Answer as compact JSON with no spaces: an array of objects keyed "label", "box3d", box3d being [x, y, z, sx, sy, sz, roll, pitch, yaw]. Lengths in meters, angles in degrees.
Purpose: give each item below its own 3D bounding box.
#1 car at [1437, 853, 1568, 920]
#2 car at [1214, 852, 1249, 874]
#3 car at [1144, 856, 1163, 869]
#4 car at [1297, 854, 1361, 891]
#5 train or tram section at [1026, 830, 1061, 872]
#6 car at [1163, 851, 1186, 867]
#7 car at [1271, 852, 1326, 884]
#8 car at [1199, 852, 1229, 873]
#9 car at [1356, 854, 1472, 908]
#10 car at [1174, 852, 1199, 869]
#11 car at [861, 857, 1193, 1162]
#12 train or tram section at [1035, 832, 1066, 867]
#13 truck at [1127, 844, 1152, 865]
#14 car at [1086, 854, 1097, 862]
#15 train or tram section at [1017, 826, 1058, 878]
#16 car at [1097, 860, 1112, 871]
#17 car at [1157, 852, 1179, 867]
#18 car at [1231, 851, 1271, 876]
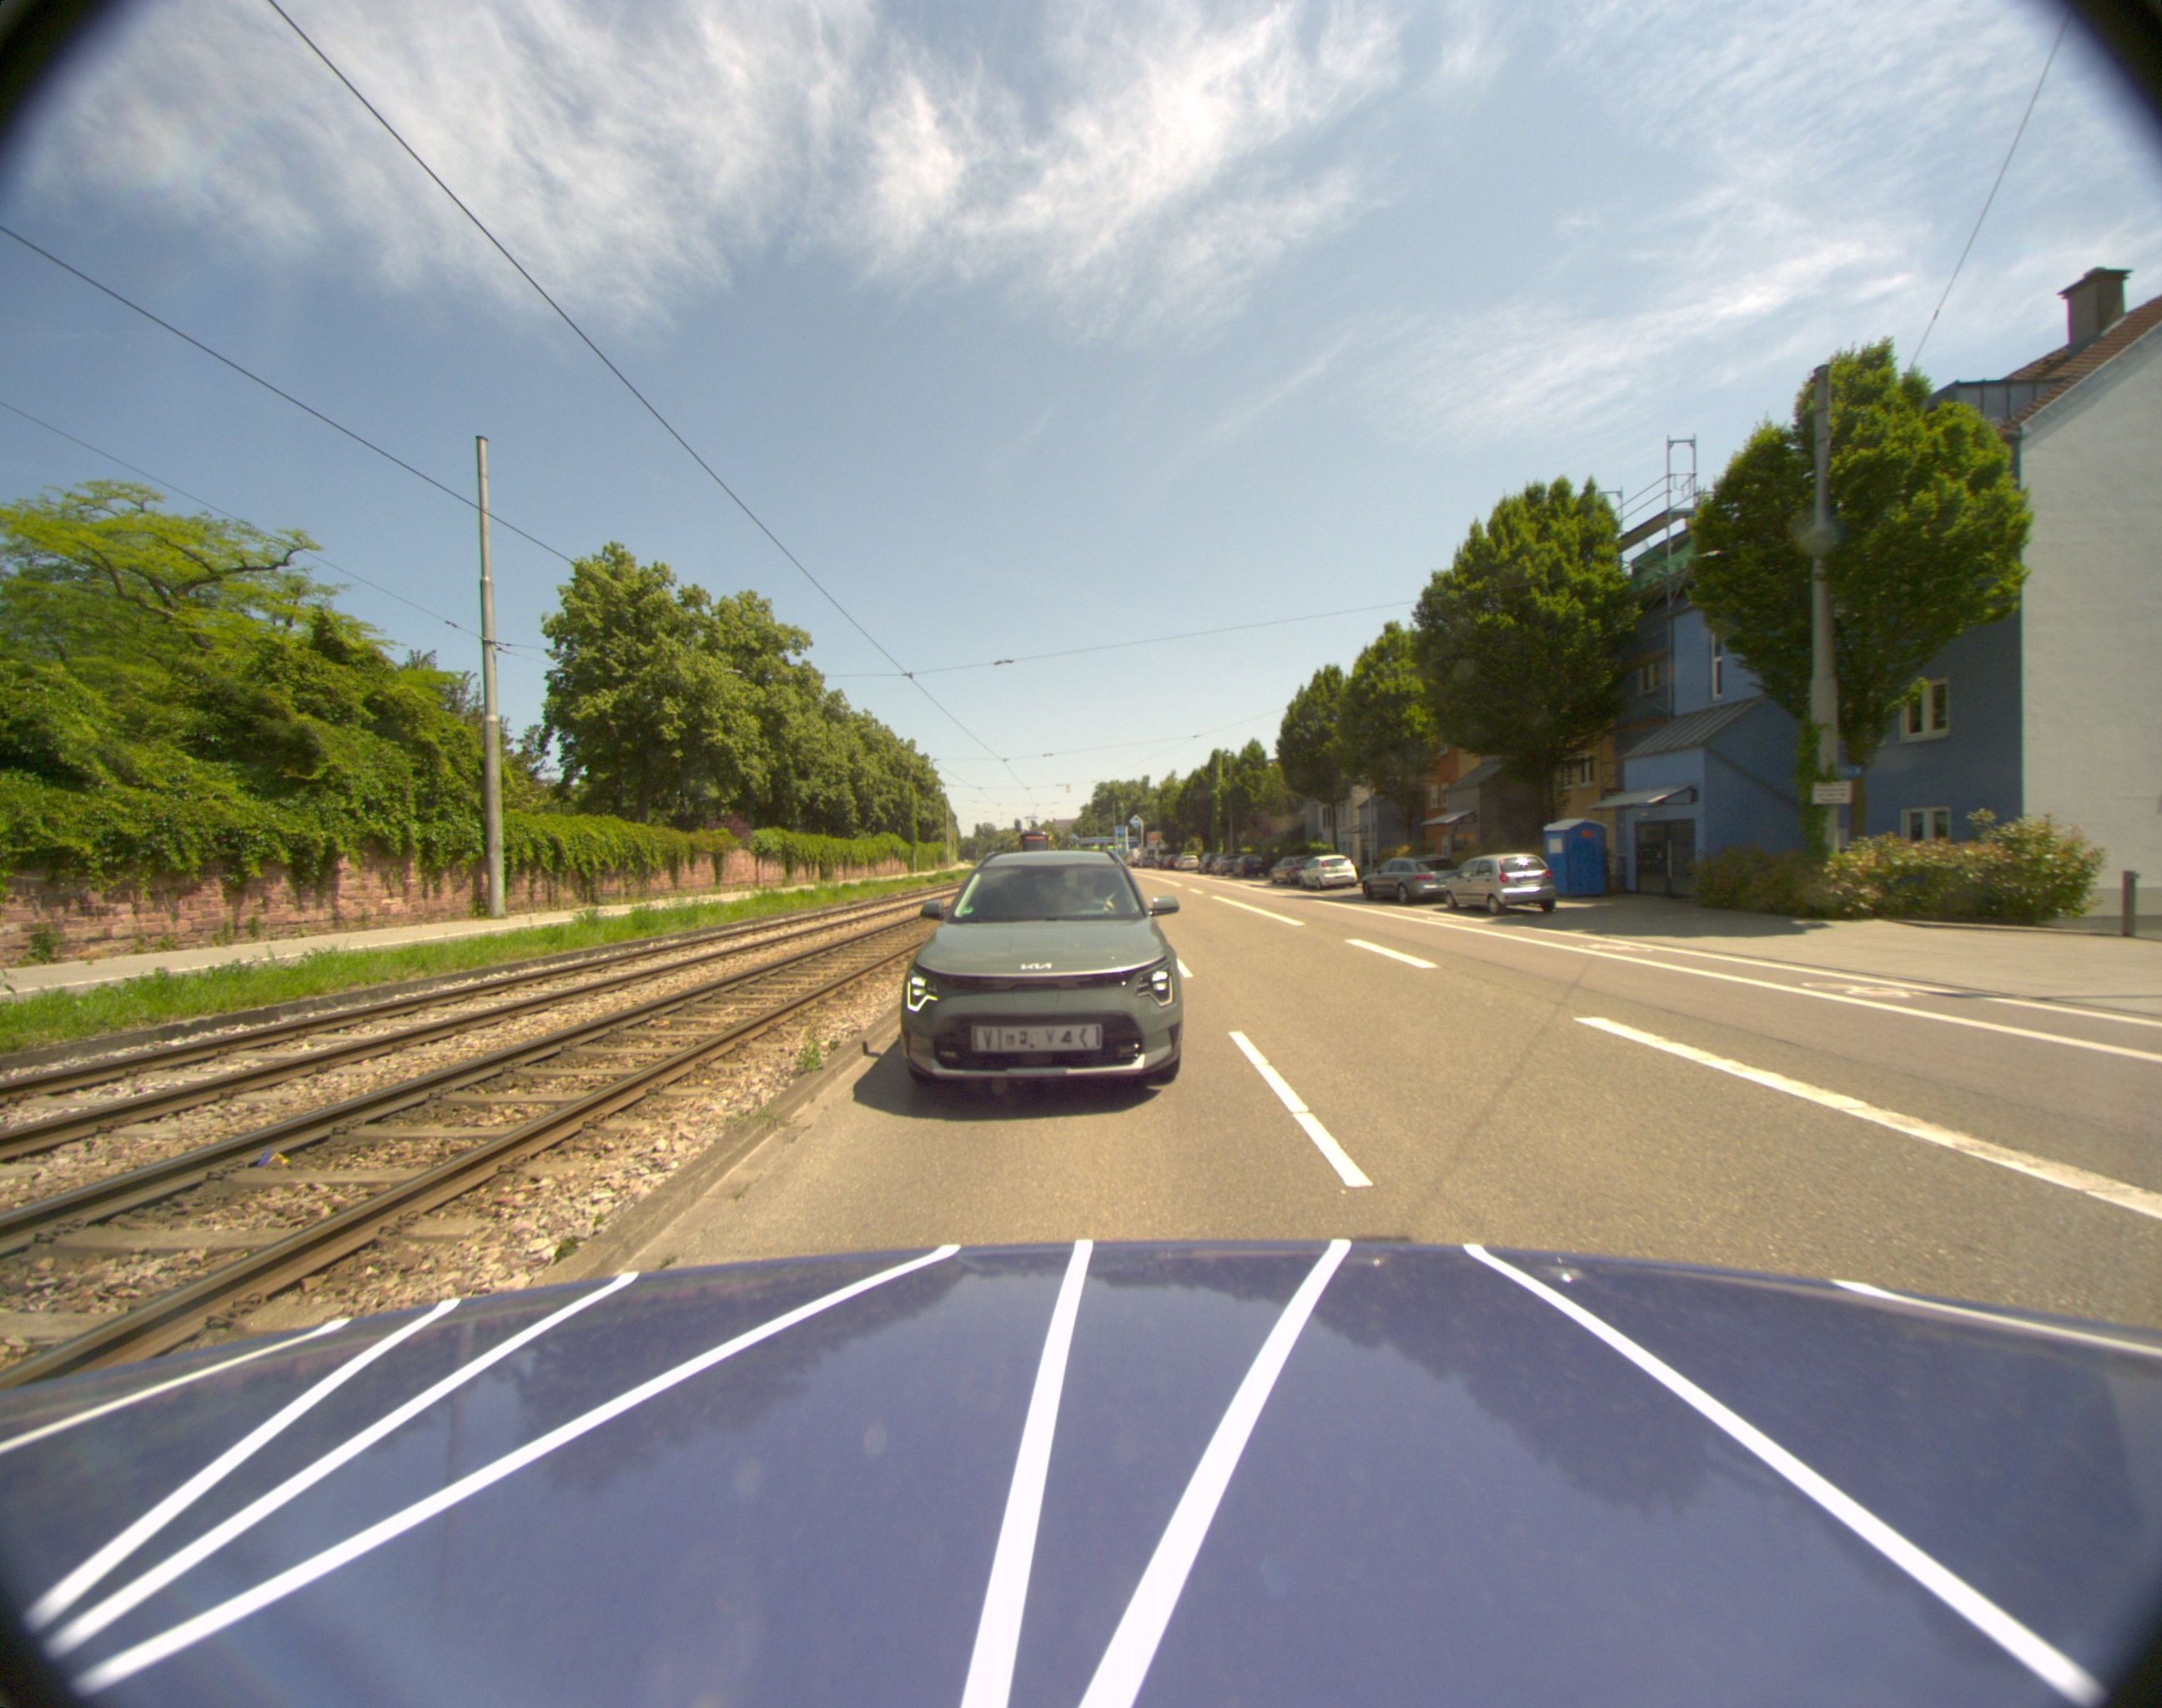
[{"label":"car","box3d":[11.015,0.790,20.098,1.505,1.487,3.282,-5,0,0]},{"label":"car","box3d":[11.167,0.644,56.655,1.656,1.487,4.082,-5,0,0]},{"label":"car","box3d":[8.922,1.047,93.966,1.865,1.487,3.470,-5,0,0]},{"label":"car","box3d":[11.395,0.793,35.131,1.656,1.487,3.649,-5,0,0]},{"label":"train or tram section","box3d":[-3.674,-0.373,77.736,2.783,3.789,14.259,-2,1,0]},{"label":"car","box3d":[9.867,0.506,80.079,1.865,1.487,3.470,-5,0,0]},{"label":"car","box3d":[11.484,0.705,40.354,1.656,1.487,4.082,-5,0,0]},{"label":"car","box3d":[10.960,0.673,62.827,1.656,1.578,4.082,-5,0,0]},{"label":"car","box3d":[10.887,0.818,25.235,1.680,1.487,4.638,-5,0,0]},{"label":"car","box3d":[10.318,0.632,74.239,1.723,1.487,4.082,-5,0,0]},{"label":"car","box3d":[-0.268,0.865,6.369,1.759,1.574,4.427,-2,0,1]},{"label":"train or tram section","box3d":[-3.584,-0.552,92.000,2.783,3.786,14.261,-2,1,1]},{"label":"truck","box3d":[7.643,0.087,100.053,2.135,2.565,4.860,-5,0,-8]},{"label":"car","box3d":[1.966,0.737,140.880,1.865,1.487,3.470,-1,0,-1]},{"label":"train or tram section","box3d":[-3.453,-0.235,63.449,2.814,3.785,14.258,-2,1,-1]},{"label":"car","box3d":[3.462,1.720,112.200,1.865,1.487,3.470,-5,0,0]},{"label":"car","box3d":[9.687,0.553,84.857,1.865,1.487,3.470,-5,0,0]},{"label":"car","box3d":[11.562,0.610,51.957,1.656,1.487,4.082,-5,0,0]}]
